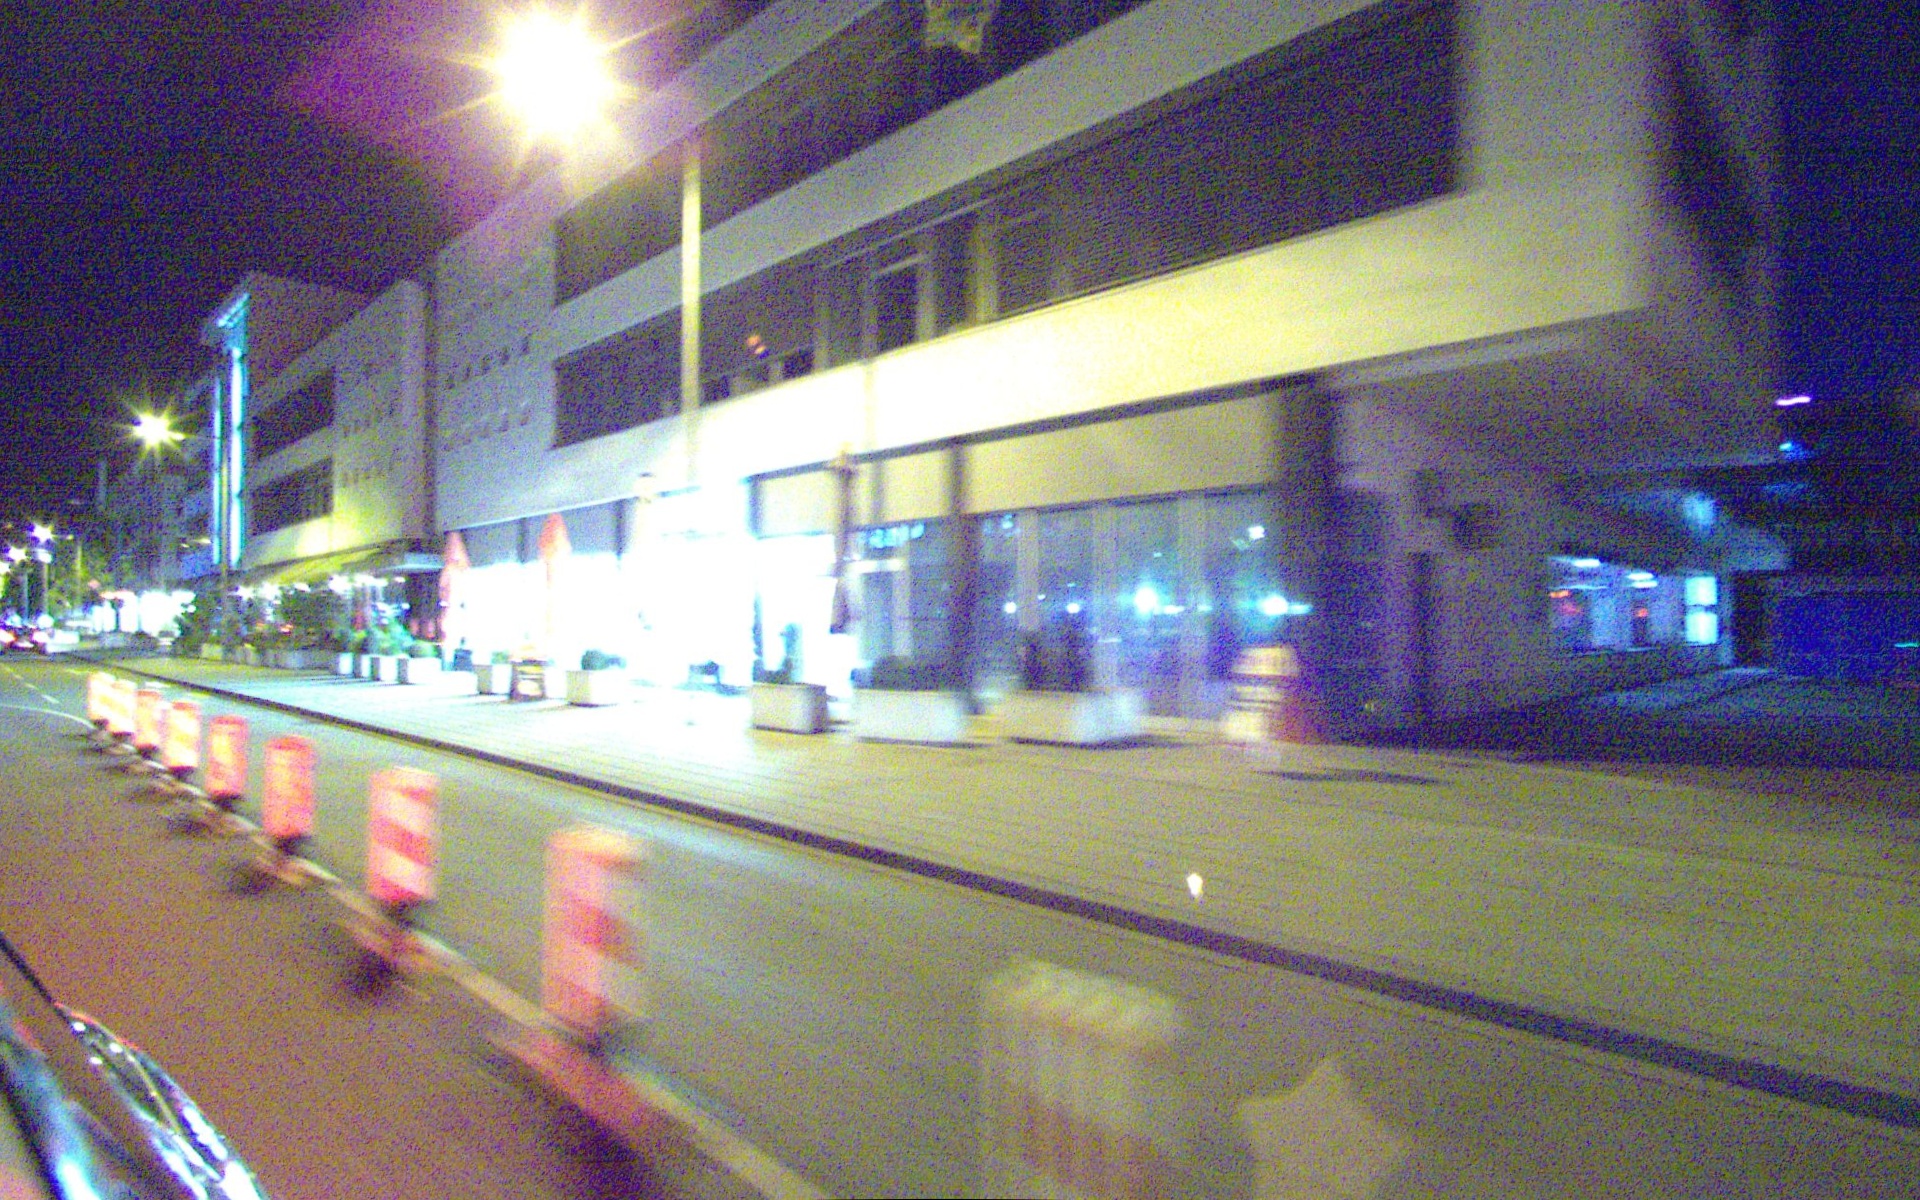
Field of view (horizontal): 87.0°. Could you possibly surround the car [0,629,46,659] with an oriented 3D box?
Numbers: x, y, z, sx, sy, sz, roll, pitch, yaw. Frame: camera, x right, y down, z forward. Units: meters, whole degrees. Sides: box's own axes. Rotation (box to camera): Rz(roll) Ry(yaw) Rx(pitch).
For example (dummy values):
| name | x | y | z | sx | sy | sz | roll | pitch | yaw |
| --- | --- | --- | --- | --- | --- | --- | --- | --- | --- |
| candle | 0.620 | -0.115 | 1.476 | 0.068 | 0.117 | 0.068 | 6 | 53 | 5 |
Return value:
| name | x | y | z | sx | sy | sz | roll | pitch | yaw |
| --- | --- | --- | --- | --- | --- | --- | --- | --- | --- |
| car | -47.490 | 2.214 | 51.079 | 4.001 | 1.439 | 1.648 | -1 | -4 | 44 |
